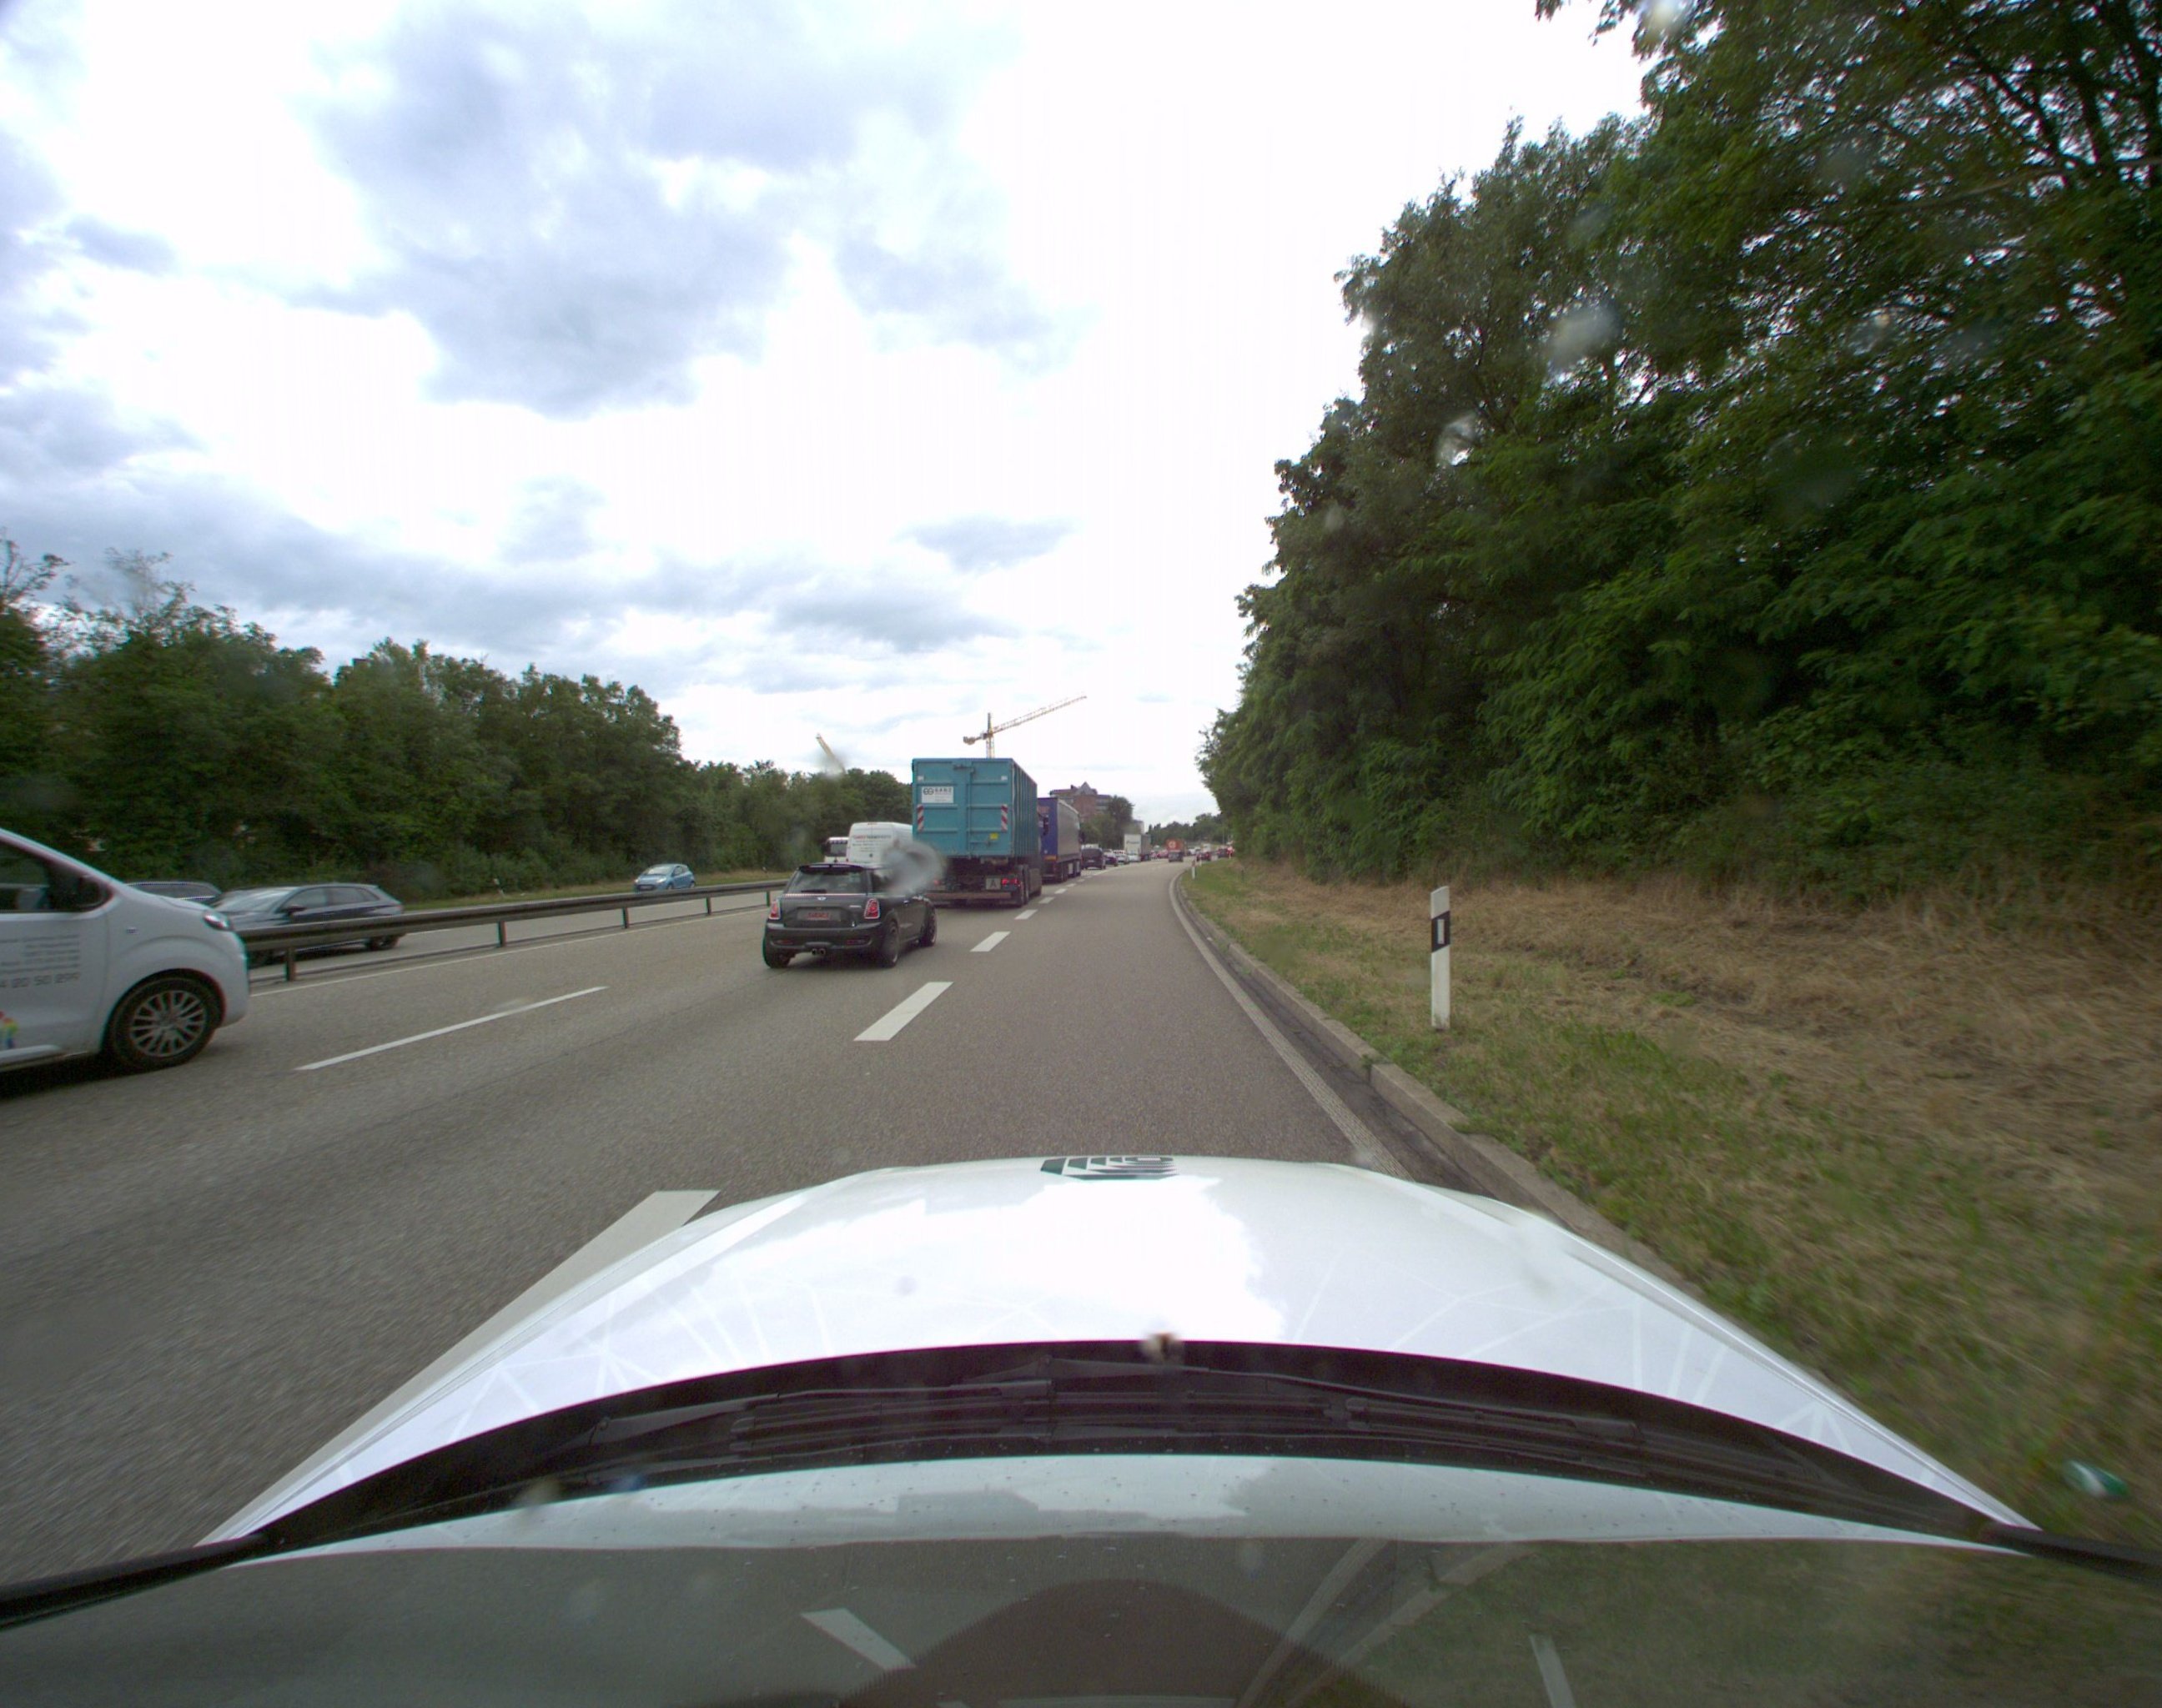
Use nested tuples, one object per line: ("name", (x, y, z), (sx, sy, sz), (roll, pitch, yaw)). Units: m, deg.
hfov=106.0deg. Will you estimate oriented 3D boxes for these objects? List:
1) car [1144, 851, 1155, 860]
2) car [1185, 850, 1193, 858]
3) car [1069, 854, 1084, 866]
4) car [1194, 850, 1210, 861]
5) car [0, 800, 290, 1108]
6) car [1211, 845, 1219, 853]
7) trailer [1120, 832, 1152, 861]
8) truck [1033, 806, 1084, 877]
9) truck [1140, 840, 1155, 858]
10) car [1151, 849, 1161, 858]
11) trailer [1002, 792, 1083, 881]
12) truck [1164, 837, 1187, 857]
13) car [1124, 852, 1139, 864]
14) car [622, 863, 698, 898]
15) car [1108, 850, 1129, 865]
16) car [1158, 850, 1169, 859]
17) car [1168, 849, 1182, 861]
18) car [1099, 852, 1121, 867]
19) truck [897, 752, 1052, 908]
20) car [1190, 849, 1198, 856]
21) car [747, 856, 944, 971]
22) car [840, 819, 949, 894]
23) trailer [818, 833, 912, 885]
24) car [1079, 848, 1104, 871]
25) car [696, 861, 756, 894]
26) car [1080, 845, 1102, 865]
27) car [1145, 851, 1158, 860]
("car", (12.199, 0.312, 145.011), (1.522, 1.552, 3.427), (-2, 0, 9))
("car", (27.440, -0.081, 206.111), (1.602, 1.948, 3.719), (0, 0, 15))
("car", (-0.529, 0.720, 97.023), (1.433, 1.387, 3.053), (-2, 0, 7))
("car", (17.295, 0.205, 116.408), (1.812, 1.482, 4.015), (-2, 0, 14))
("car", (-7.563, 0.636, 4.344), (1.844, 1.891, 4.877), (-2, 0, 1))
("car", (36.797, -1.427, 223.583), (1.938, 2.013, 4.012), (-1, 0, 11))
("trailer", (8.351, -1.001, 121.972), (3.278, 4.036, 13.133), (0, 0, 10))
("truck", (-1.288, -0.702, 49.794), (2.550, 4.042, 6.595), (0, 0, 3))
("truck", (15.581, -1.018, 191.398), (2.722, 4.138, 10.724), (0, 0, 9))
("car", (17.195, -0.058, 185.919), (1.806, 2.013, 4.012), (-2, 0, 10))
("trailer", (-1.725, -0.758, 43.878), (2.614, 4.022, 13.481), (0, 0, 5))
("truck", (21.411, -1.576, 184.131), (3.466, 4.073, 13.640), (-2, 0, 13))
("car", (6.787, 0.494, 108.883), (1.755, 1.478, 4.097), (-2, 0, 7))
("car", (-20.336, 1.244, 39.526), (1.586, 1.501, 3.706), (-2, 0, 2))
("car", (4.571, 0.429, 97.502), (1.945, 1.695, 4.878), (-2, 0, 9))
("car", (15.844, 0.097, 155.922), (1.706, 1.684, 4.013), (0, 0, 12))
("car", (12.932, 0.137, 111.974), (1.816, 1.482, 4.006), (-2, 0, 5))
("car", (3.061, 0.582, 85.345), (1.837, 1.460, 4.841), (-2, 0, 7))
("truck", (-2.854, -0.611, 25.916), (2.918, 3.796, 11.337), (-2, 0, 2))
("car", (30.297, -0.416, 217.412), (1.602, 2.013, 4.016), (-2, 0, 15))
("car", (-3.331, 0.773, 12.278), (1.740, 1.422, 3.666), (-1, 0, 2))
("car", (-6.944, 0.094, 31.337), (2.212, 2.578, 6.805), (0, 0, 4))
("trailer", (-15.601, 0.297, 60.146), (2.458, 3.396, 12.480), (-2, 0, 5))
("car", (0.960, 0.478, 71.965), (1.981, 1.898, 4.985), (-4, 0, 1))
("car", (-20.459, 1.339, 47.112), (1.671, 1.717, 3.777), (-2, 0, 1))
("car", (1.379, 0.091, 109.391), (1.981, 2.553, 5.378), (-2, 0, 11))
("car", (12.546, 0.262, 144.911), (1.788, 1.604, 4.271), (0, 0, 12))
